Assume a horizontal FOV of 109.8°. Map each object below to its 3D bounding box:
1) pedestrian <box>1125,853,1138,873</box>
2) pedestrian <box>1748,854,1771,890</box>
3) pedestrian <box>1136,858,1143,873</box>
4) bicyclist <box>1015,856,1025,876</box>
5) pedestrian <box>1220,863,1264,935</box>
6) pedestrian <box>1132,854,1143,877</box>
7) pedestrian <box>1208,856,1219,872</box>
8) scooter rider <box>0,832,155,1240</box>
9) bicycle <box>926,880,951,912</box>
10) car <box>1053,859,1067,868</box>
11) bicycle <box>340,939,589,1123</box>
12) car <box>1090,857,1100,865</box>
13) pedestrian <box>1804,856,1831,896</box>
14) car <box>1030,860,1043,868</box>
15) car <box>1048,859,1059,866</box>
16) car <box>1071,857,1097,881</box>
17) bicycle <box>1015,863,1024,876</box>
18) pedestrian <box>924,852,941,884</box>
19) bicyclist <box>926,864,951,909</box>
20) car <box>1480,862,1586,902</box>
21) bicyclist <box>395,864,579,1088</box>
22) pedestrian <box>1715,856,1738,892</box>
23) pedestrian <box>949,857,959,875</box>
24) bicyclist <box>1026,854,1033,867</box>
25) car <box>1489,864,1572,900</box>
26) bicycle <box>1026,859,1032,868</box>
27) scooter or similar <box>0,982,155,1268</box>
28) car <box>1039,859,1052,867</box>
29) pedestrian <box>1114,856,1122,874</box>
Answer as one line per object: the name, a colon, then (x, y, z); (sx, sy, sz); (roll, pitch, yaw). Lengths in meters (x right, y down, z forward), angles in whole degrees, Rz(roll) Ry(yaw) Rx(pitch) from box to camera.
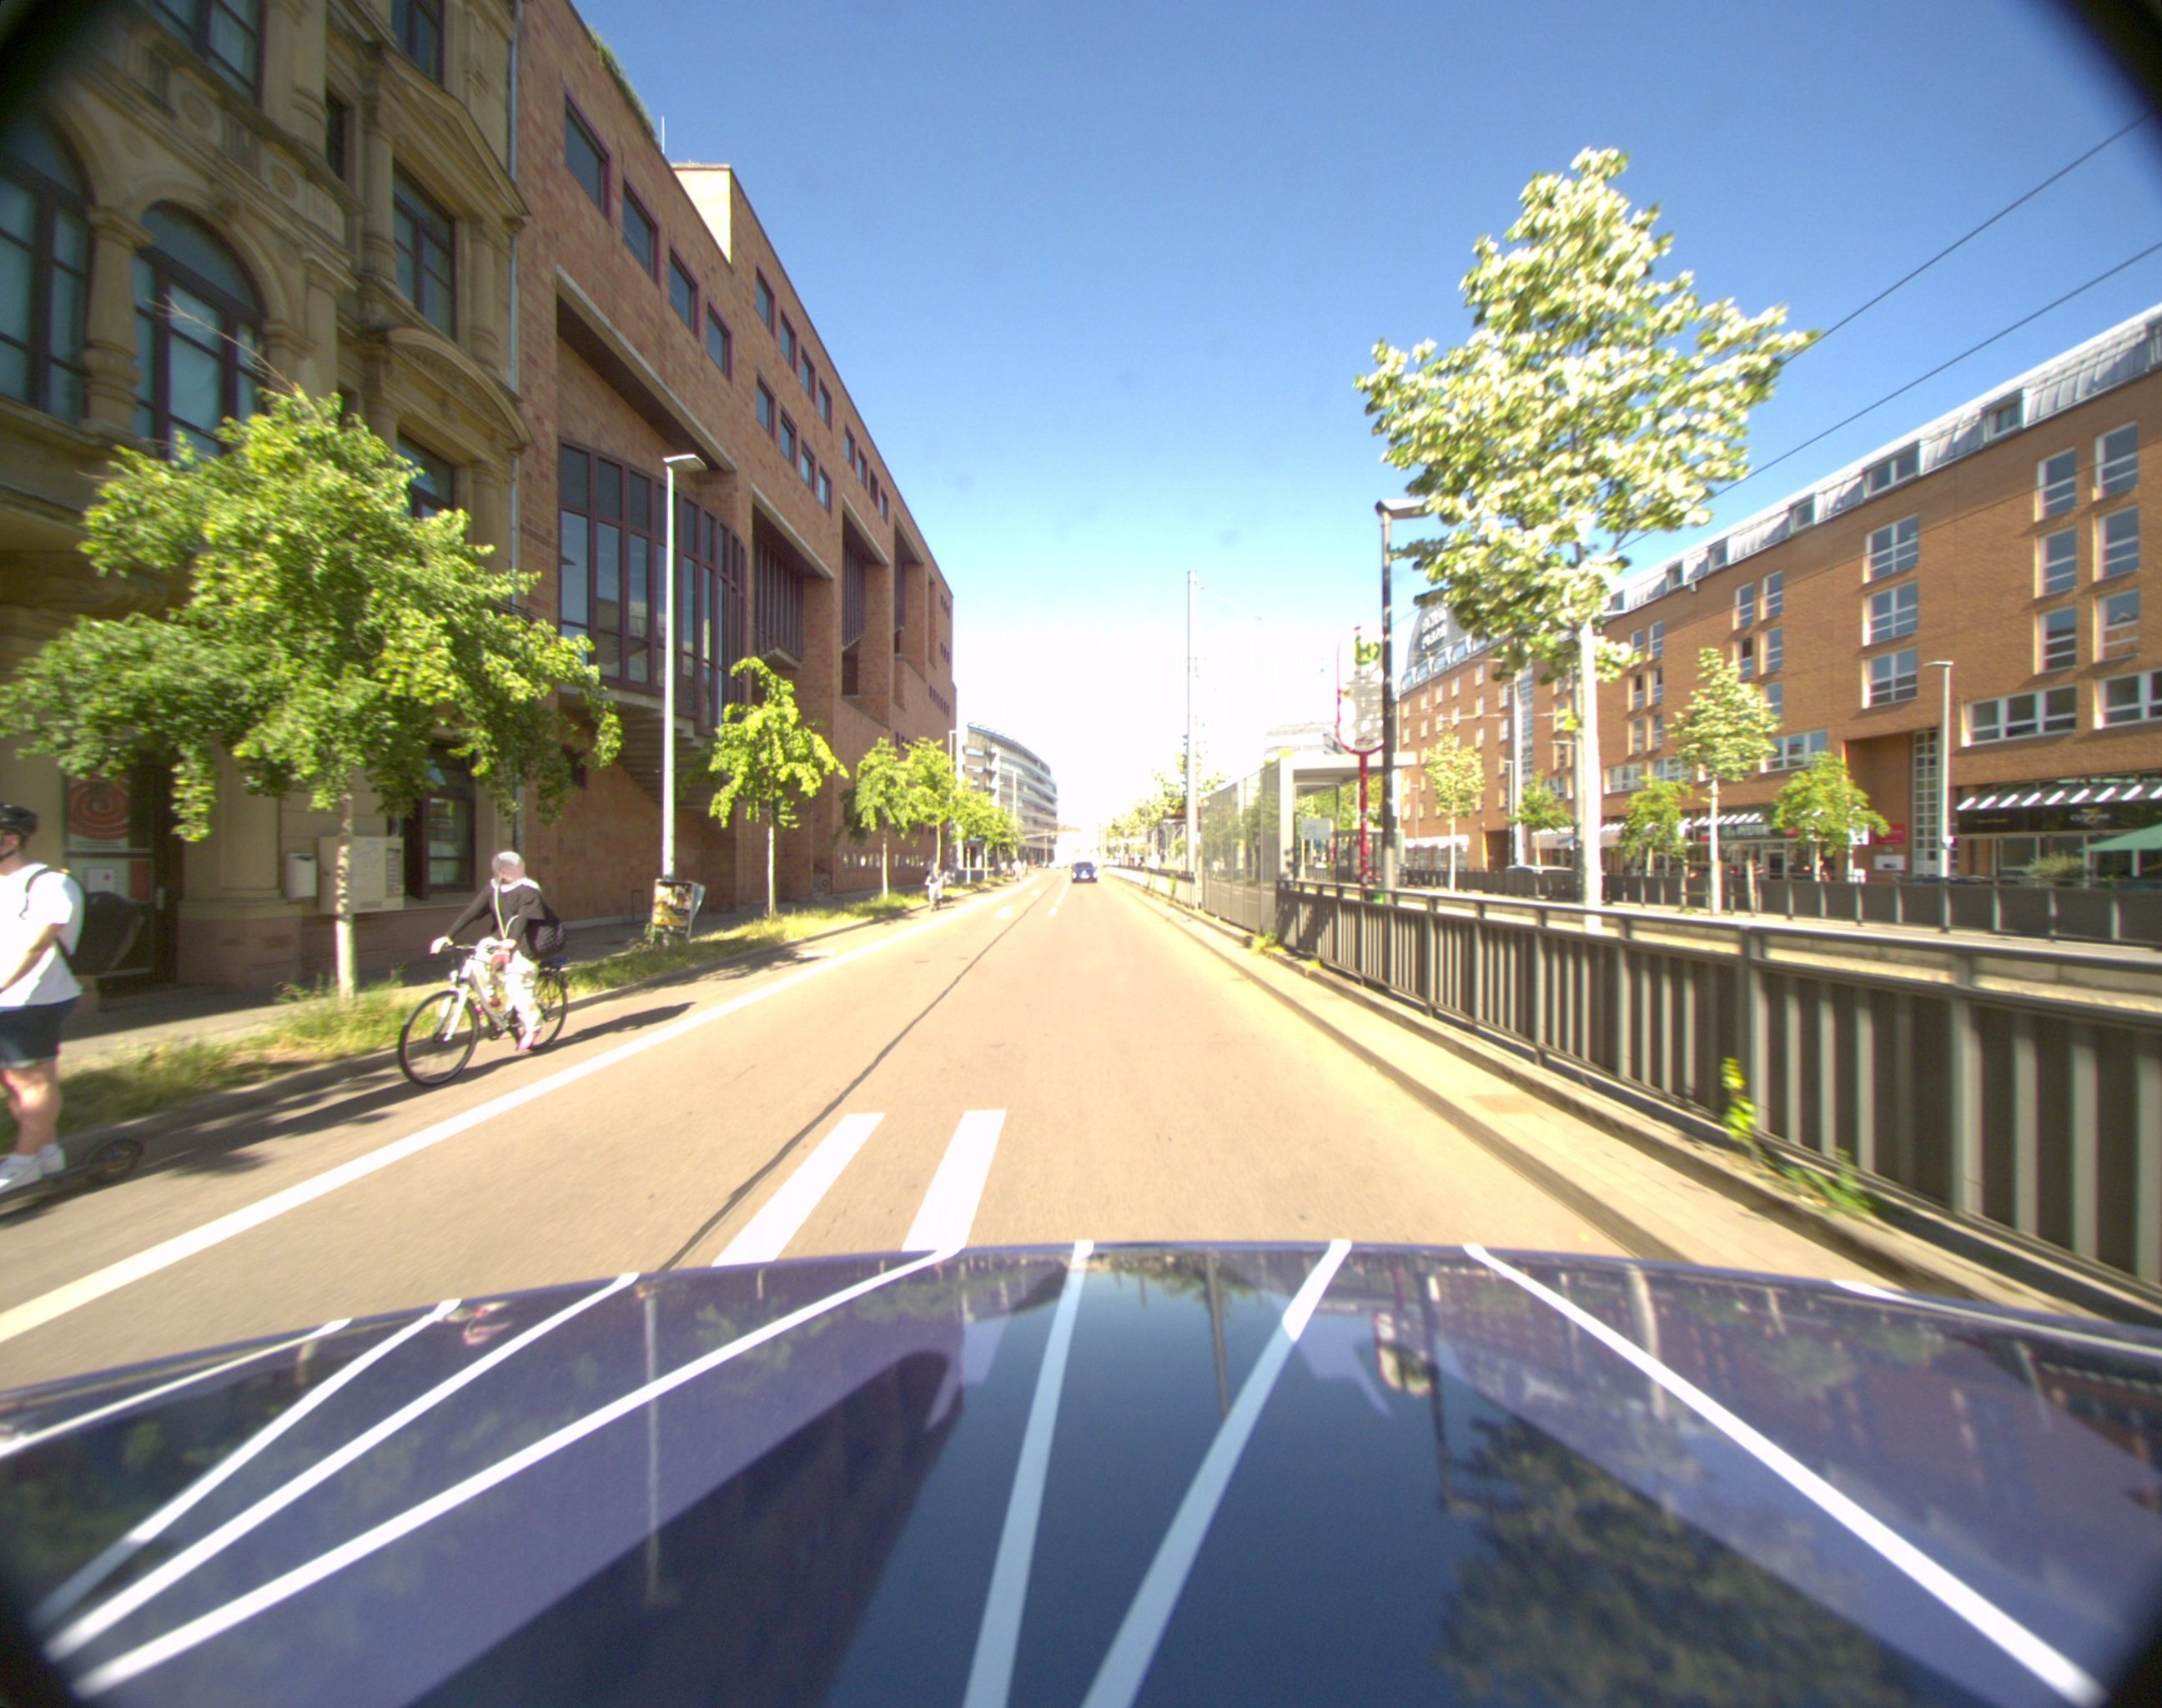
pedestrian: (4.486, 0.800, 67.836); (0.994, 1.800, 1.022); (0, 0, -4)
pedestrian: (35.102, 0.916, 39.306); (0.622, 1.829, 0.644); (0, 0, -1)
pedestrian: (5.773, 1.129, 75.038); (0.610, 1.560, 0.908); (0, 0, -3)
bicyclist: (-5.273, 1.034, 65.388); (0.684, 1.718, 0.909); (-2, 0, 3)
pedestrian: (3.505, 0.965, 16.590); (0.814, 1.527, 0.798); (0, 0, 2)
pedestrian: (4.229, 0.879, 56.833); (0.710, 1.713, 0.752); (0, 1, -1)
pedestrian: (13.903, 1.036, 79.813); (0.960, 1.680, 1.007); (0, 0, 2)
scooter rider: (-5.263, 0.837, 3.557); (0.668, 1.850, 0.901); (-2, 0, 0)
bicycle: (-4.995, 1.461, 26.694); (0.559, 1.021, 1.507); (-2, 0, 0)
car: (-4.044, 1.857, 149.159); (2.120, 1.547, 4.003); (0, 0, 9)
bicycle: (-4.931, 1.352, 6.262); (0.559, 1.086, 1.792); (-2, 0, 0)
car: (3.044, 1.545, 166.221); (1.882, 1.455, 4.002); (-1, 1, 7)
pedestrian: (34.286, 1.003, 35.380); (0.622, 1.829, 0.645); (0, 0, 0)
car: (-8.738, 1.911, 149.743); (1.882, 1.455, 4.002); (-1, 1, 7)
car: (-5.974, 1.798, 165.124); (1.882, 1.455, 4.002); (-1, 1, 7)
car: (0.238, 1.060, 55.651); (1.802, 1.596, 3.999); (-2, 1, 0)
bicycle: (-5.265, 1.329, 65.530); (0.578, 1.090, 1.507); (-2, 0, 2)
pedestrian: (-8.764, 0.840, 44.807); (0.790, 1.872, 1.106); (0, 0, 0)
bicyclist: (-5.003, 1.116, 26.667); (0.659, 1.528, 0.909); (-2, 0, 0)
car: (17.166, 1.020, 29.092); (1.699, 1.279, 3.960); (-2, 1, 0)
bicyclist: (-4.876, 0.947, 6.306); (0.781, 1.701, 0.868); (-2, 0, 0)
pedestrian: (33.909, 1.047, 39.900); (0.622, 1.829, 0.644); (0, 0, -1)
pedestrian: (-11.209, 1.027, 66.957); (0.790, 1.610, 0.976); (0, 0, -2)
bicyclist: (-6.517, 0.857, 95.732); (0.755, 1.607, 0.762); (-2, 0, 3)
car: (23.640, 1.437, 40.120); (1.998, 1.674, 3.999); (-2, 1, 0)
bicycle: (-6.564, 1.247, 95.771); (0.578, 1.090, 1.507); (-2, 0, 3)
scooter or similar: (-5.249, 1.306, 3.497); (0.492, 1.219, 1.170); (-2, 0, 0)
car: (-7.297, 1.907, 157.095); (1.882, 1.455, 4.002); (-1, 1, 7)
pedestrian: (3.638, 1.055, 75.043); (0.649, 1.733, 0.820); (0, 0, -3)
